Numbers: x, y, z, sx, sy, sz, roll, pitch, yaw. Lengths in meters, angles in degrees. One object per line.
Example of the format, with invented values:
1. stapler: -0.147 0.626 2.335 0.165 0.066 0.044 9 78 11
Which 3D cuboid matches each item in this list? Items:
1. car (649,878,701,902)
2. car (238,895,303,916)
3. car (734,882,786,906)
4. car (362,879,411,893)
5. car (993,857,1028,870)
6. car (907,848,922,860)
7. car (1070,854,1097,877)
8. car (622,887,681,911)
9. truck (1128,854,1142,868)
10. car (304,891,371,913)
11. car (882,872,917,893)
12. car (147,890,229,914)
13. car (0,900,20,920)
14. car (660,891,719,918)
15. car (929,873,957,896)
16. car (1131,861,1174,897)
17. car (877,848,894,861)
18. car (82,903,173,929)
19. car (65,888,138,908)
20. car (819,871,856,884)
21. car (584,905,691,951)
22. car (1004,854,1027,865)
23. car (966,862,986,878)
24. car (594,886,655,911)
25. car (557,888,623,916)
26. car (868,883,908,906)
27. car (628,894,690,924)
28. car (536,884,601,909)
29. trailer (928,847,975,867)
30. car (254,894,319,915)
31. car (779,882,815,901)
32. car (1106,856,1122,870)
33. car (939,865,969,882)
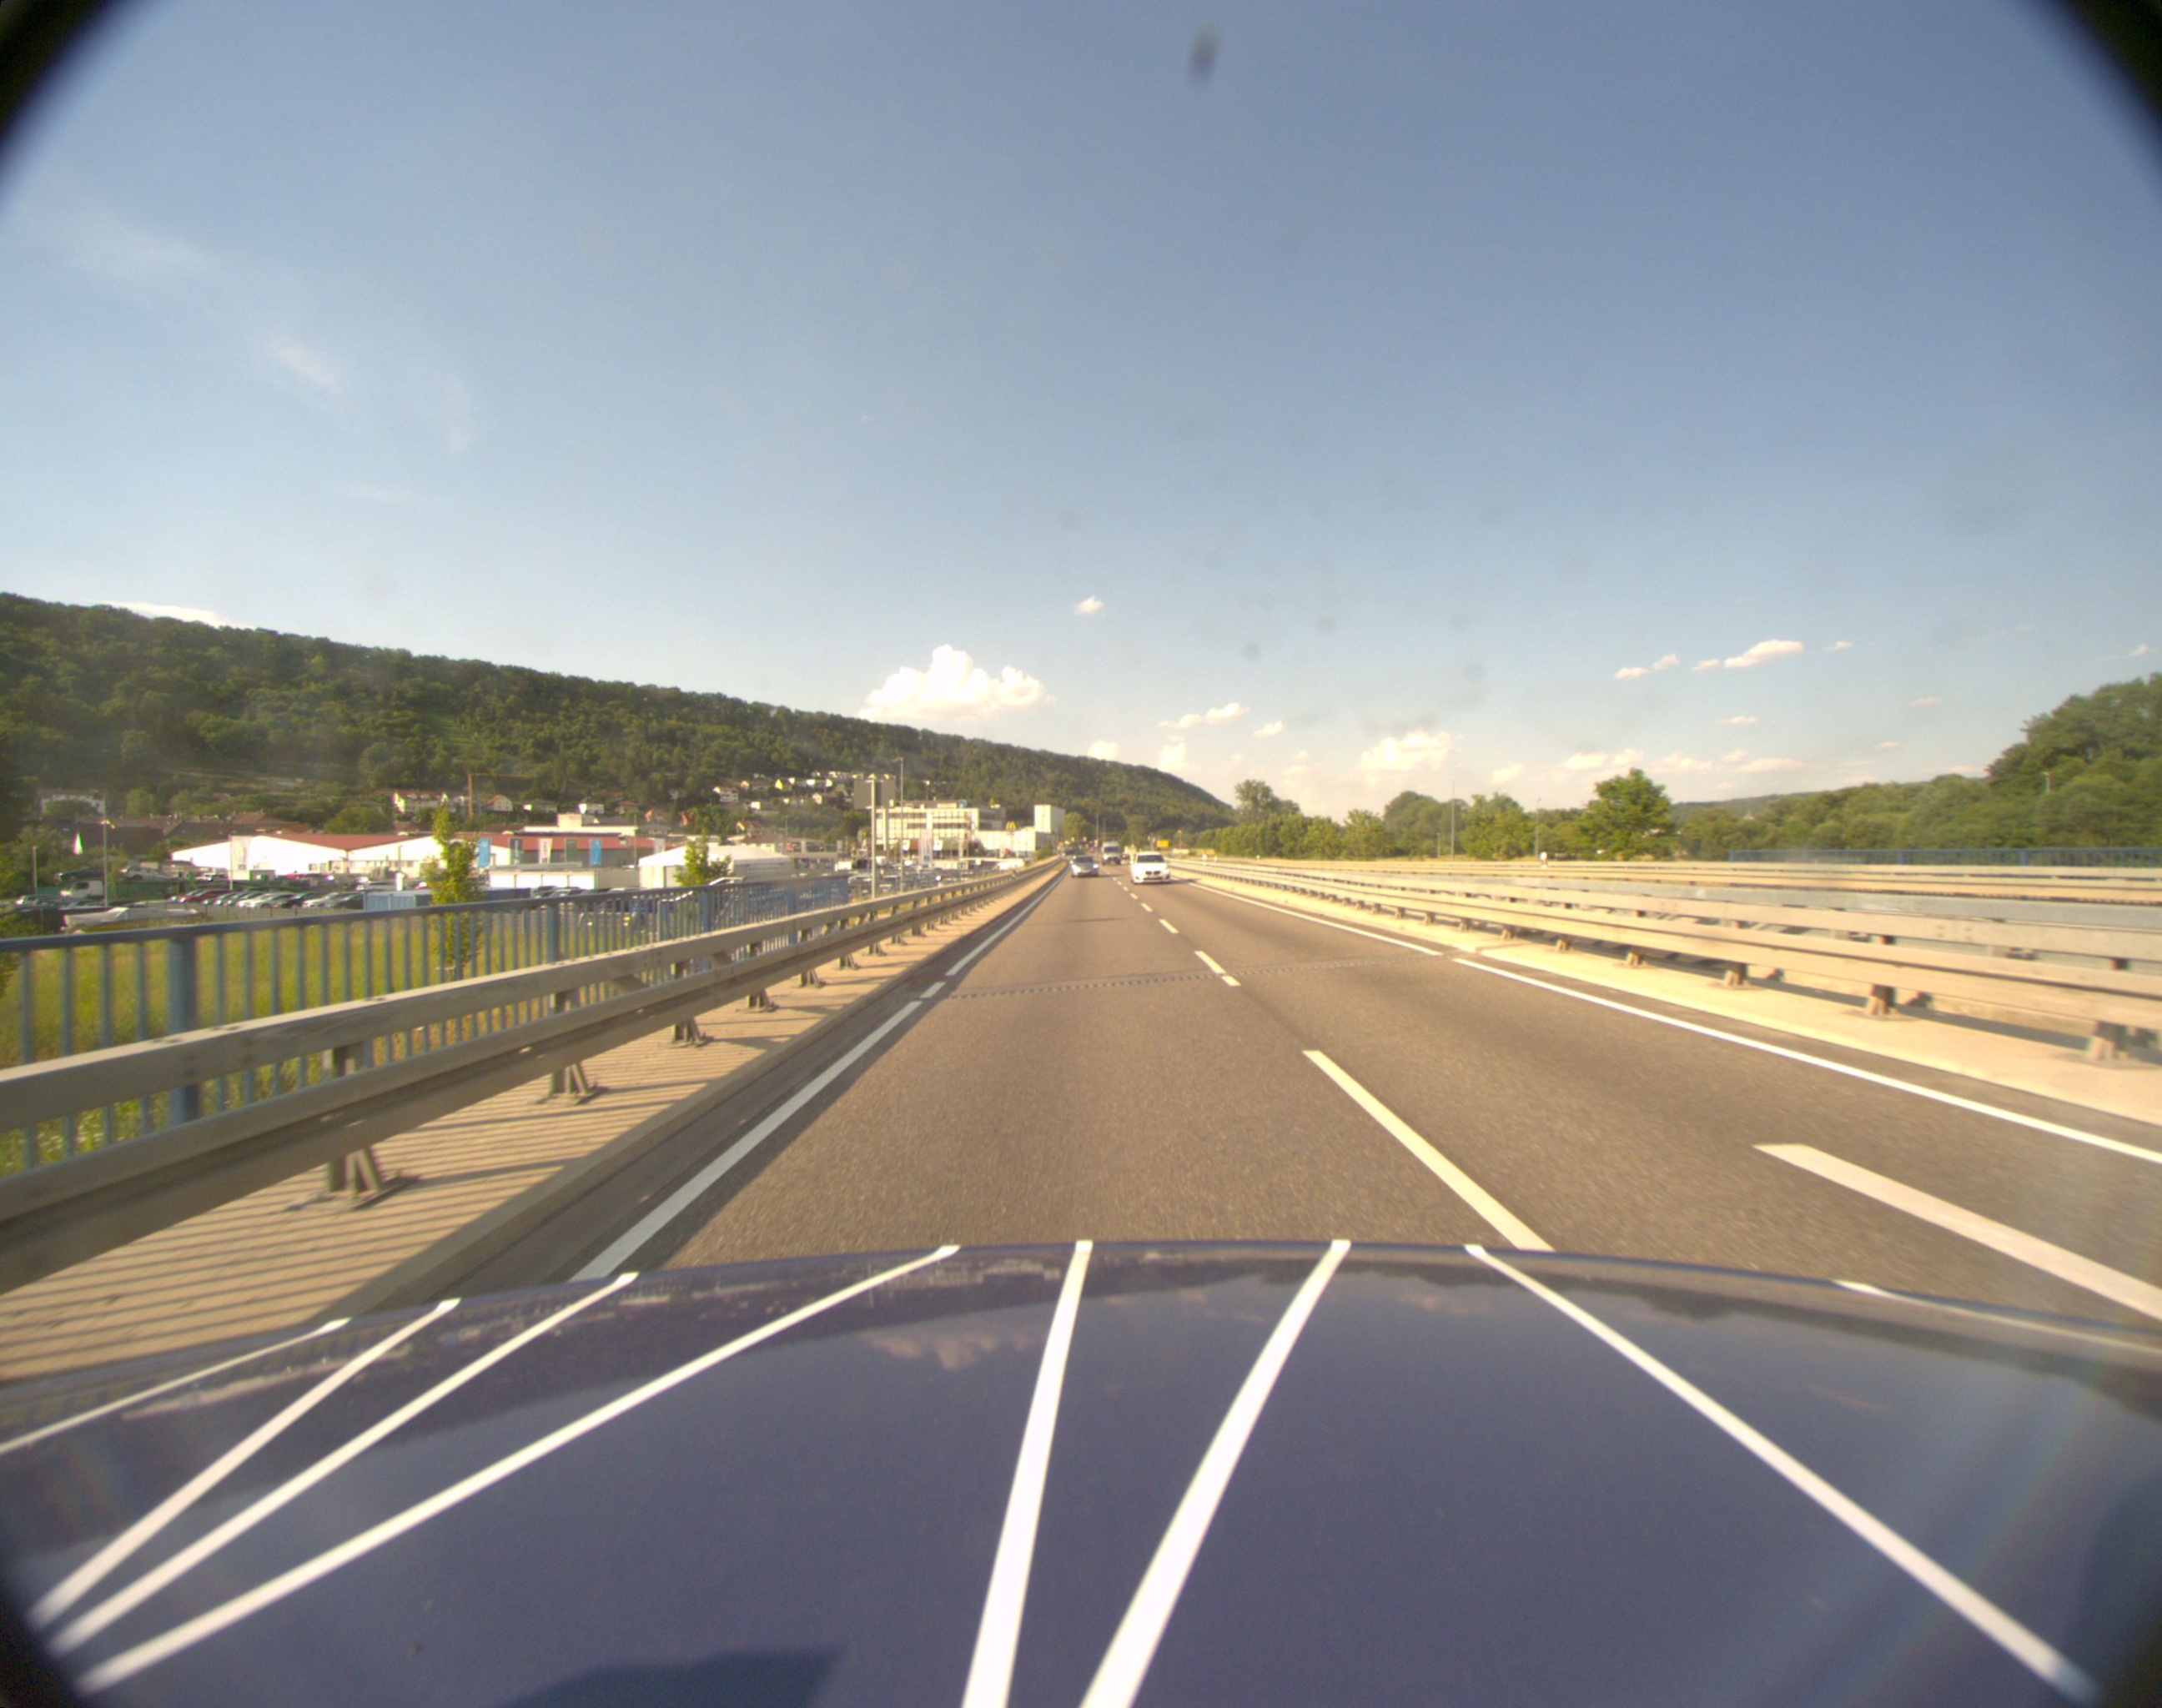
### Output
1. car: -33.636 2.974 63.068 1.779 1.674 4.001 -2 1 5
2. car: -76.927 4.888 72.180 1.748 1.568 3.785 -2 1 22
3. car: -26.254 3.239 62.378 1.884 1.627 4.730 -2 1 4
4. car: -87.175 4.028 95.409 1.586 1.494 4.233 -2 1 23
5. car: -12.545 1.723 135.666 5.895 2.002 2.000 -2 1 3
6. car: -35.947 -0.020 163.986 1.759 2.233 5.297 -2 1 4
7. car: 0.206 0.729 50.470 1.690 1.383 3.883 -1 1 1
8. car: -35.967 3.732 63.827 1.884 1.627 4.730 -2 1 5
9. truck: 14.417 1.788 204.495 2.940 3.476 10.496 0 1 0
10. car: -66.309 4.280 67.837 1.748 1.568 3.785 -2 1 22
11. car: -19.585 3.077 82.140 1.883 1.920 4.732 -2 1 10
12. car: -71.655 3.823 61.048 1.749 1.568 3.784 -2 1 17
13. car: -89.884 4.684 61.791 1.749 1.568 3.785 -2 1 20
14. car: -27.154 3.480 52.839 1.709 1.456 4.001 -2 1 5
15. car: -11.883 2.626 65.560 1.616 1.669 3.835 -2 1 1
16. car: 3.550 1.232 38.324 1.825 1.551 3.999 -2 1 1
17. car: -41.114 0.010 159.718 1.759 2.535 5.469 -2 1 4
18. car: -70.884 4.597 56.562 1.749 1.568 3.785 -2 1 20
19. car: -92.874 4.128 72.106 1.749 1.568 3.784 -2 1 17
20. car: -33.558 3.184 104.650 4.427 1.534 1.801 -2 1 8
21. car: -21.053 3.475 36.269 1.956 1.632 4.247 -2 1 13
22. car: -12.073 1.000 140.463 3.996 1.740 1.901 -2 1 2
23. car: -12.177 1.863 88.165 1.885 1.616 4.727 -2 1 -4
24. car: -38.293 3.697 63.918 1.884 1.627 4.730 -2 1 5
25. car: -34.629 3.376 53.719 1.709 1.594 4.001 -2 1 5
26. car: -17.044 3.519 67.305 1.884 1.627 4.730 -2 1 5
27. car: -29.332 3.772 52.991 1.779 1.674 4.001 -2 1 5
28. car: -42.937 3.519 63.824 1.884 1.627 4.730 -2 1 5
29. trailer: -24.093 0.515 141.673 7.897 3.304 3.359 -2 1 5
30. car: -74.706 4.734 71.472 1.748 1.568 3.785 -2 1 22
31. car: -29.359 3.874 78.671 1.778 1.674 4.001 -2 1 7
32. car: 3.621 1.015 84.495 1.690 1.383 3.883 -1 1 1
33. car: -13.670 2.067 82.095 1.883 1.616 4.730 -2 1 5
